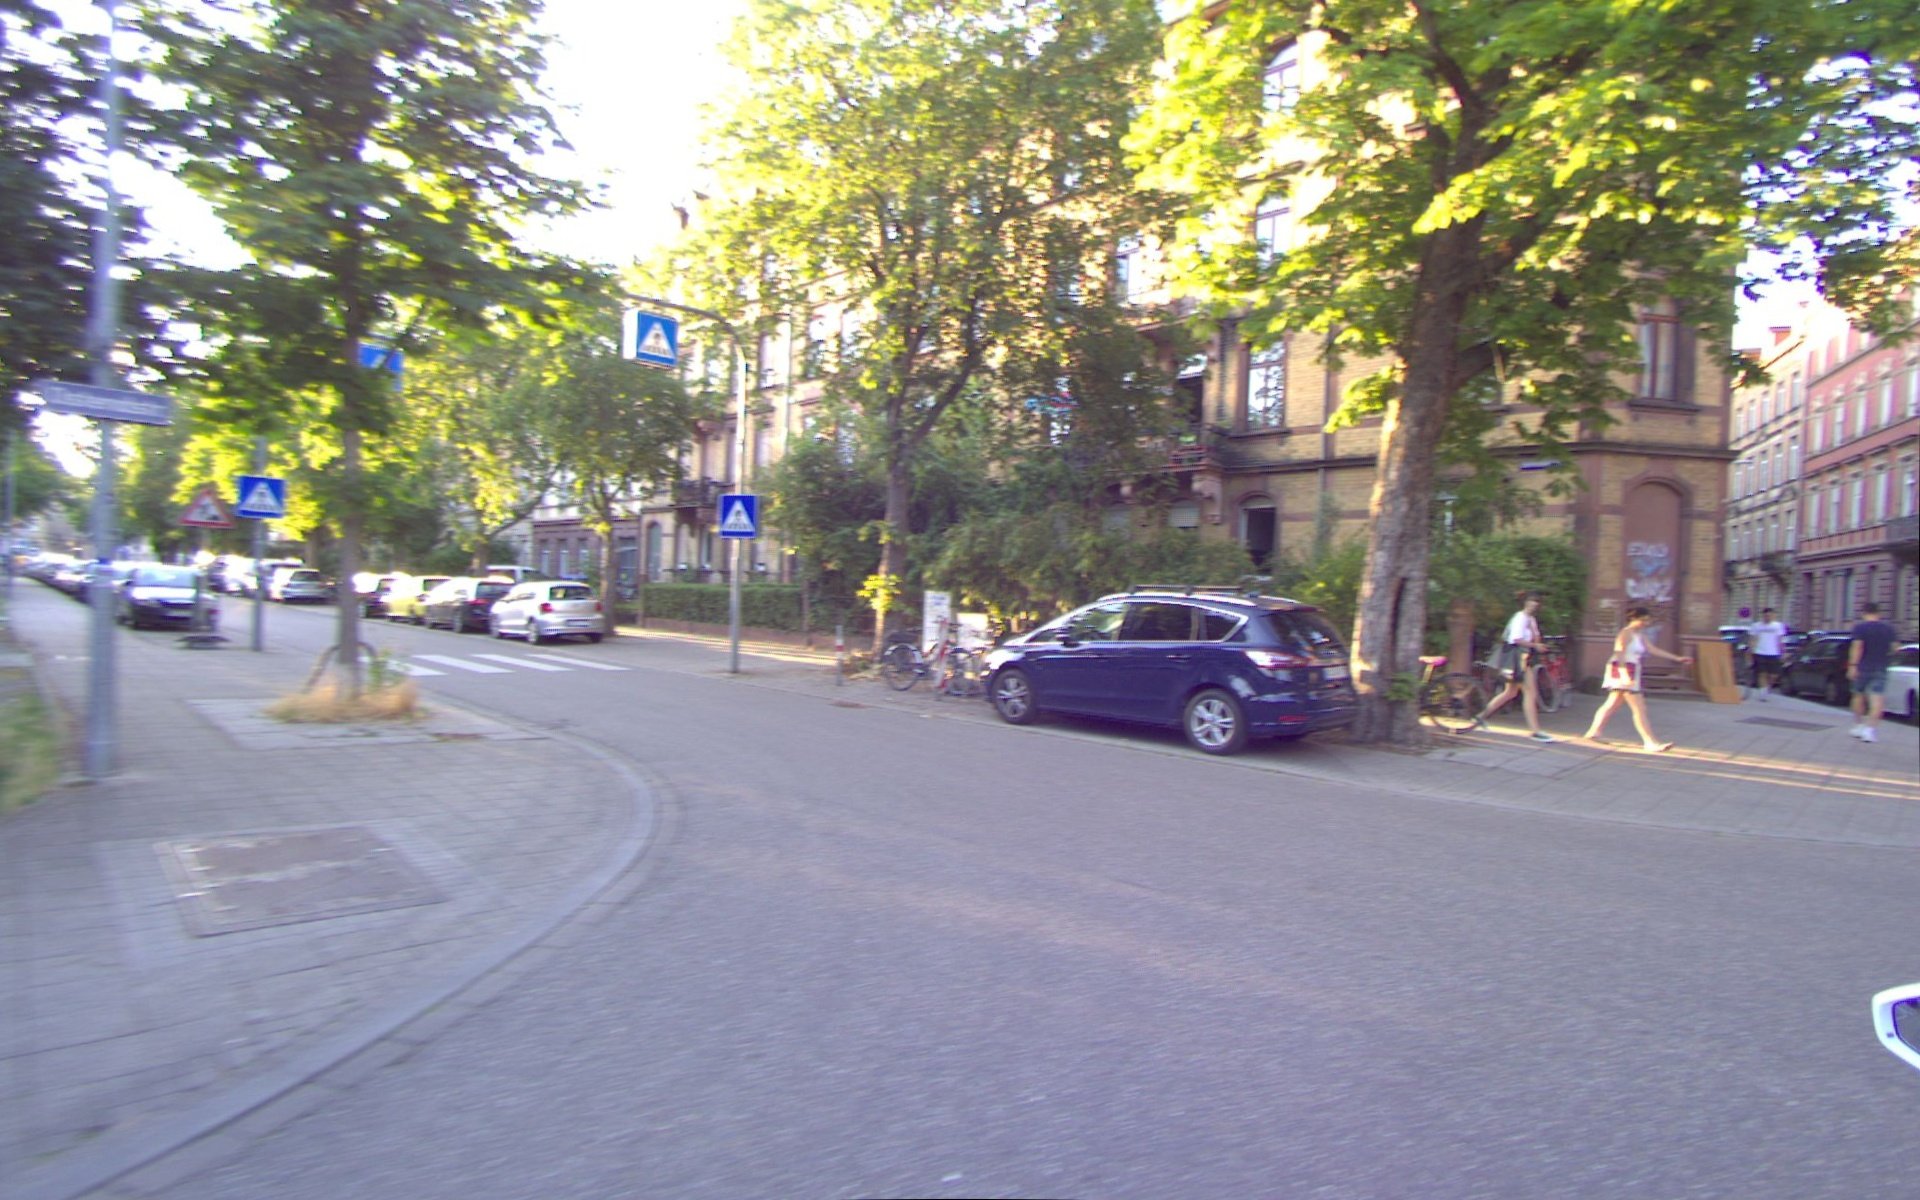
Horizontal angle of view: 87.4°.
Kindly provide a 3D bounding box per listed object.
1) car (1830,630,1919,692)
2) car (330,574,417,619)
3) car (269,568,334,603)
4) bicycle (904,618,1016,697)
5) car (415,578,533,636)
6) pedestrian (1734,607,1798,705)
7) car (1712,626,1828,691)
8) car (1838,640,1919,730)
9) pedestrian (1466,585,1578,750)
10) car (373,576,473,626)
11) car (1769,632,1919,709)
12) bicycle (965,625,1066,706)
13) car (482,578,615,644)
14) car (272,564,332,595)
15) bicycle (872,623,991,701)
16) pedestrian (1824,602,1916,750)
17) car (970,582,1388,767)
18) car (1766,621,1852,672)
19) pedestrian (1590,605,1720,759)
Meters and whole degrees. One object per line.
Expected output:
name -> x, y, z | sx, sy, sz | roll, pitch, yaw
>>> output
car -> 30.026, 1.944, 32.727 | 1.657, 1.847, 3.485 | 1, -1, 25
car -> -20.594, -0.145, 35.190 | 4.048, 1.461, 1.608 | 2, 1, 44
car -> -29.452, -0.662, 44.893 | 4.048, 1.461, 1.608 | 2, 1, 44
bicycle -> -0.016, 0.895, 16.051 | 1.779, 1.108, 0.604 | 2, 2, 36
car -> -13.583, 0.140, 27.989 | 4.251, 1.461, 1.608 | 2, 1, 44
pedestrian -> 16.199, 1.095, 20.212 | 0.768, 1.848, 0.922 | 6, 4, 35
car -> 22.108, 1.539, 27.573 | 1.549, 1.593, 4.116 | 1, -1, 26
car -> 17.669, 1.510, 18.158 | 1.549, 1.478, 4.421 | 1, -1, 26
pedestrian -> 6.685, 0.777, 12.004 | 0.989, 1.859, 0.687 | 3, 0, 20
car -> -17.070, -0.007, 31.839 | 4.251, 1.461, 1.608 | 2, 1, 44
car -> 19.753, 1.498, 22.488 | 1.549, 1.478, 4.421 | 1, -1, 26
bicycle -> 0.867, 0.953, 15.135 | 0.596, 1.051, 1.801 | 2, 2, 38
car -> -10.119, 0.213, 24.591 | 3.701, 1.461, 1.608 | 2, 3, 43
car -> -31.883, -1.004, 48.616 | 4.048, 1.461, 1.608 | 2, 1, 44
bicycle -> -0.453, 0.923, 15.434 | 1.776, 1.051, 0.604 | 2, 2, 31
pedestrian -> 12.137, 0.981, 13.394 | 0.787, 1.848, 0.679 | 0, 5, -42
car -> 2.377, 0.688, 11.837 | 1.860, 1.710, 4.530 | 0, 1, -45
car -> 32.679, 1.756, 38.758 | 1.657, 1.847, 3.485 | 1, -1, 25
pedestrian -> 7.999, 0.917, 11.606 | 1.032, 1.652, 0.687 | 3, 0, 20
